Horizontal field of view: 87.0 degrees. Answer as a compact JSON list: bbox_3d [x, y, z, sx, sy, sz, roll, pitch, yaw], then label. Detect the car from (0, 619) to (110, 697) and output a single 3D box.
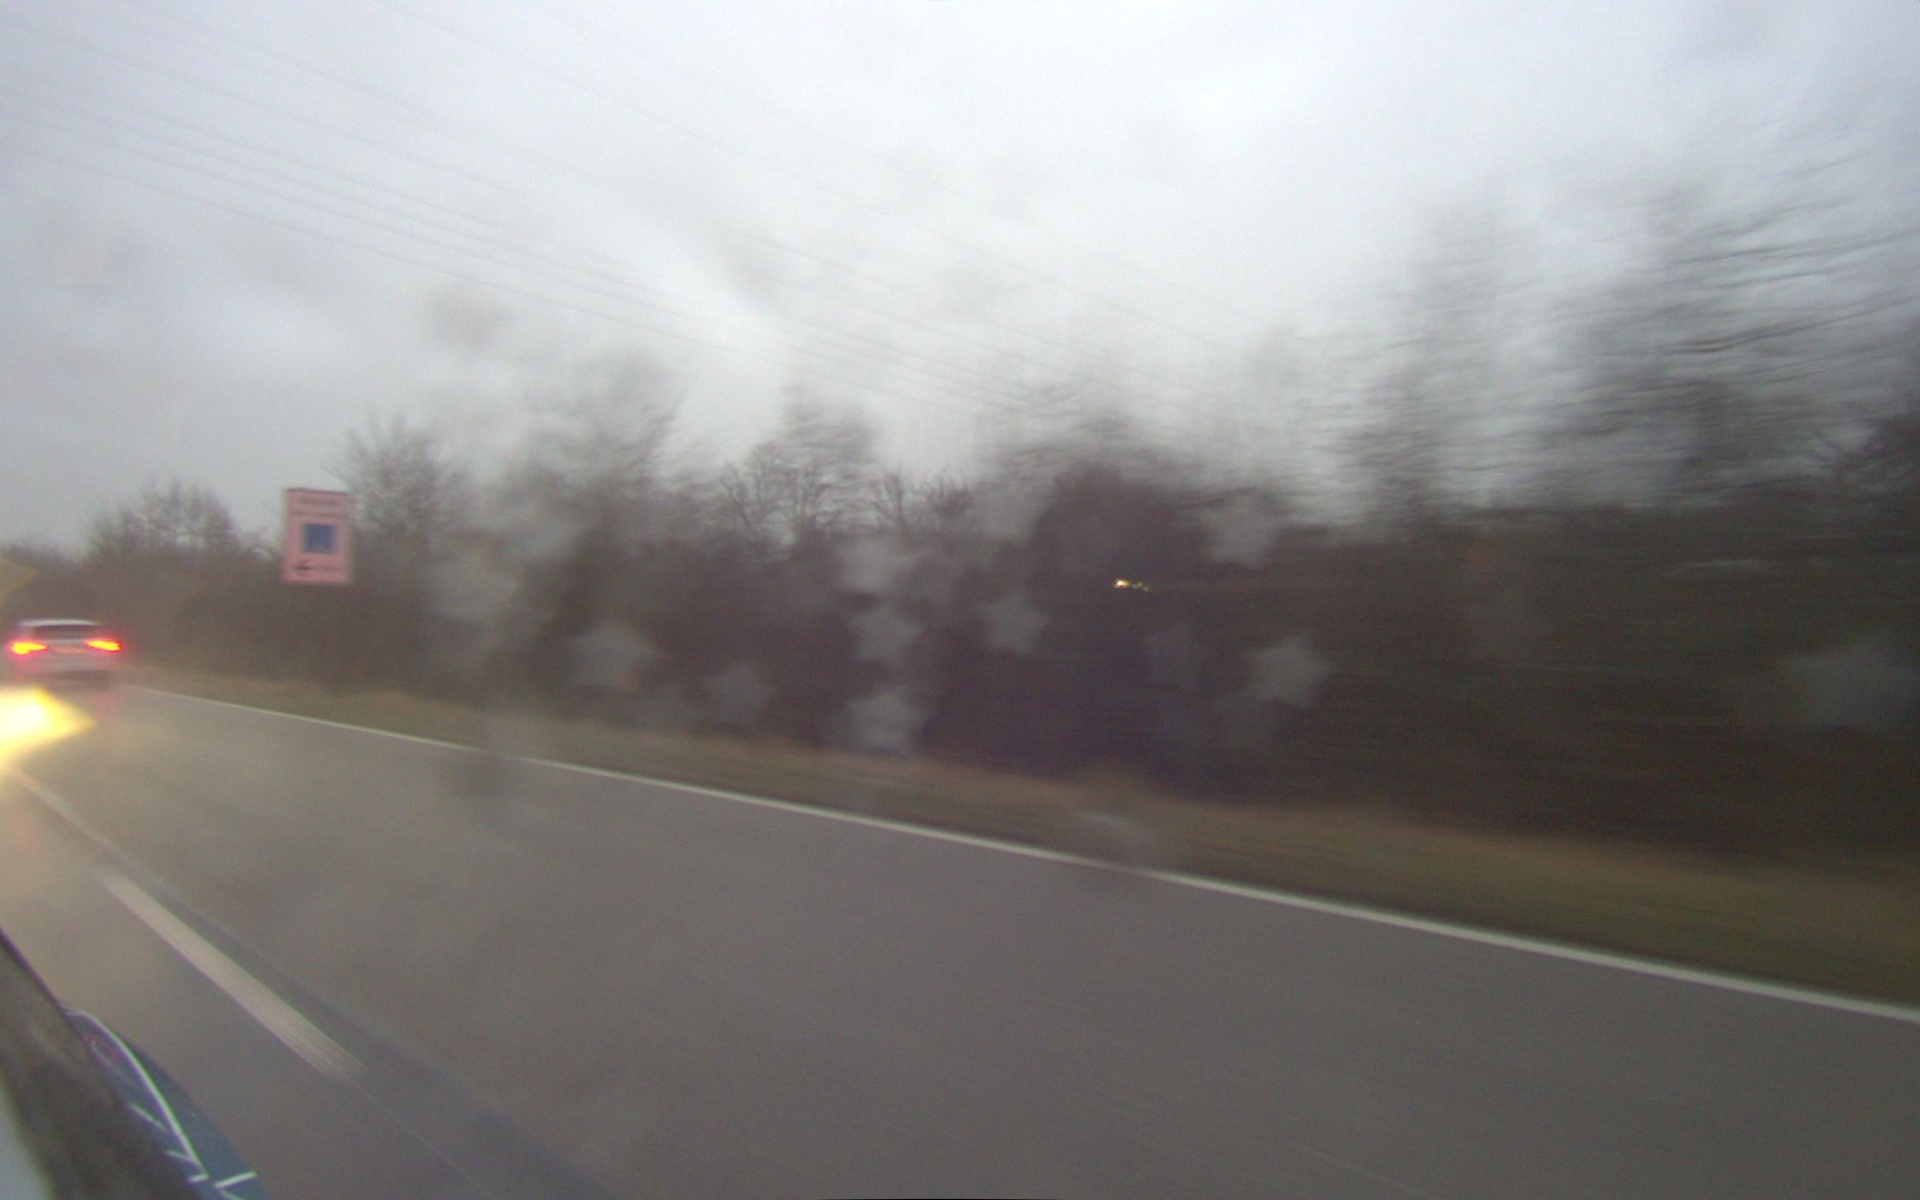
[{"bbox_3d":[-21.258,1.293,23.553,3.974,1.643,1.655,-2,-1,41],"label":"car"}]
